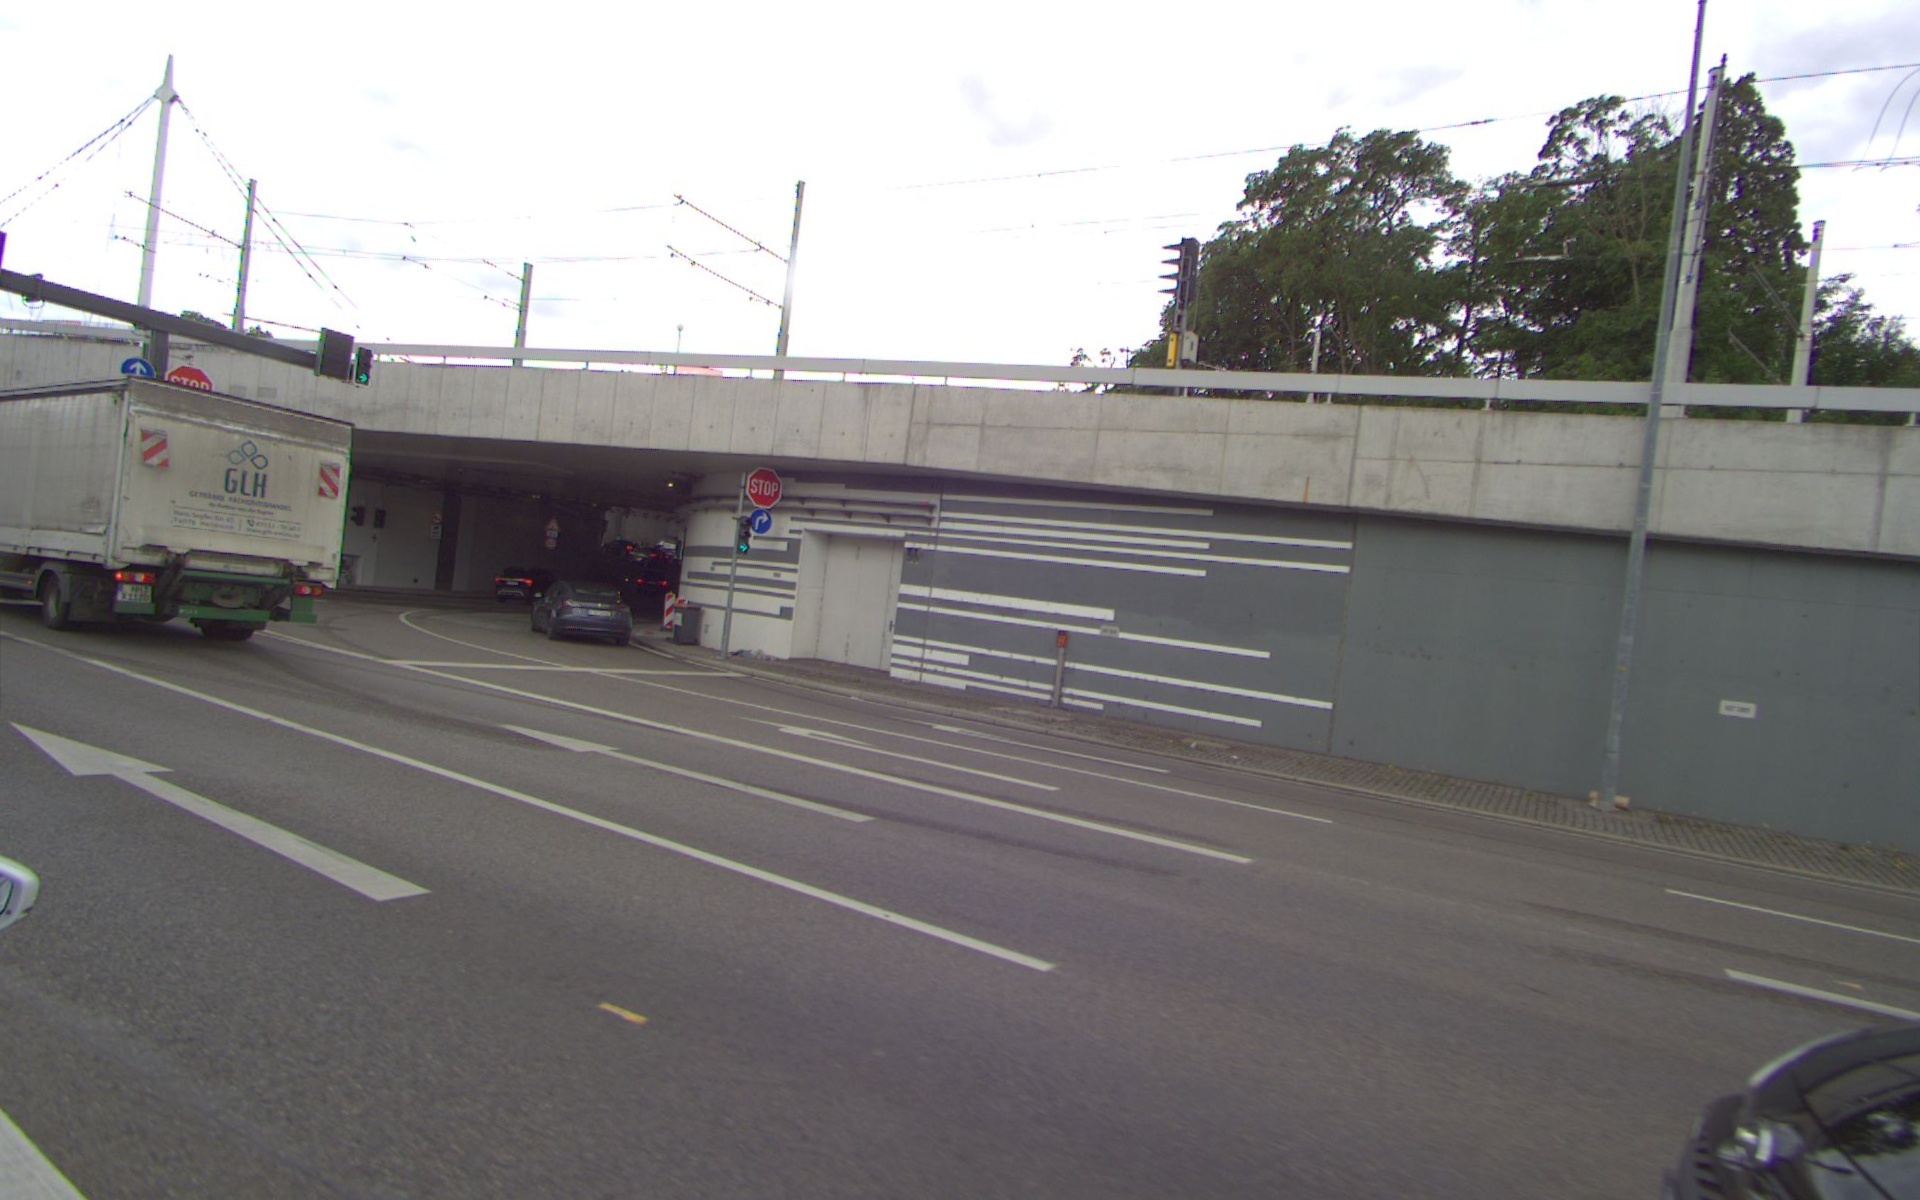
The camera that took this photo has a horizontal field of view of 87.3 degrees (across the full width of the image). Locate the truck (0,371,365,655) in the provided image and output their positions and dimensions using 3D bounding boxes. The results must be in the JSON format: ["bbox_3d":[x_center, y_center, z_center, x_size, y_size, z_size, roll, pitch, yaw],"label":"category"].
[{"bbox_3d":[-12.158,-1.285,14.629,7.302,3.224,2.653,6,0,31],"label":"truck"}]

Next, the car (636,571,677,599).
[{"bbox_3d":[-18.703,-0.924,62.113,1.660,1.351,3.660,8,3,-6],"label":"car"}]

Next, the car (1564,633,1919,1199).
[{"bbox_3d":[2.940,1.116,1.172,3.630,1.563,1.686,8,-1,30],"label":"car"}]

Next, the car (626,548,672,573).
[{"bbox_3d":[-25.986,-3.331,83.985,1.839,1.677,4.307,8,-1,-43],"label":"car"}]

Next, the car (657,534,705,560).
[{"bbox_3d":[-24.274,-4.621,87.423,4.298,1.680,1.839,9,4,42],"label":"car"}]

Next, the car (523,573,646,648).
[{"bbox_3d":[-9.395,0.218,24.937,1.979,1.418,4.431,7,-1,-31],"label":"car"}]

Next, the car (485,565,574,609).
[{"bbox_3d":[-18.652,-0.600,43.792,1.798,1.610,3.997,7,2,4],"label":"car"}]

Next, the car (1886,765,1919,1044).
[{"bbox_3d":[7.523,1.058,2.448,7.203,2.807,2.079,7,0,31],"label":"car"}]

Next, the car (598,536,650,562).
[{"bbox_3d":[-30.882,-4.686,92.401,4.322,1.649,2.137,10,3,30],"label":"car"}]
